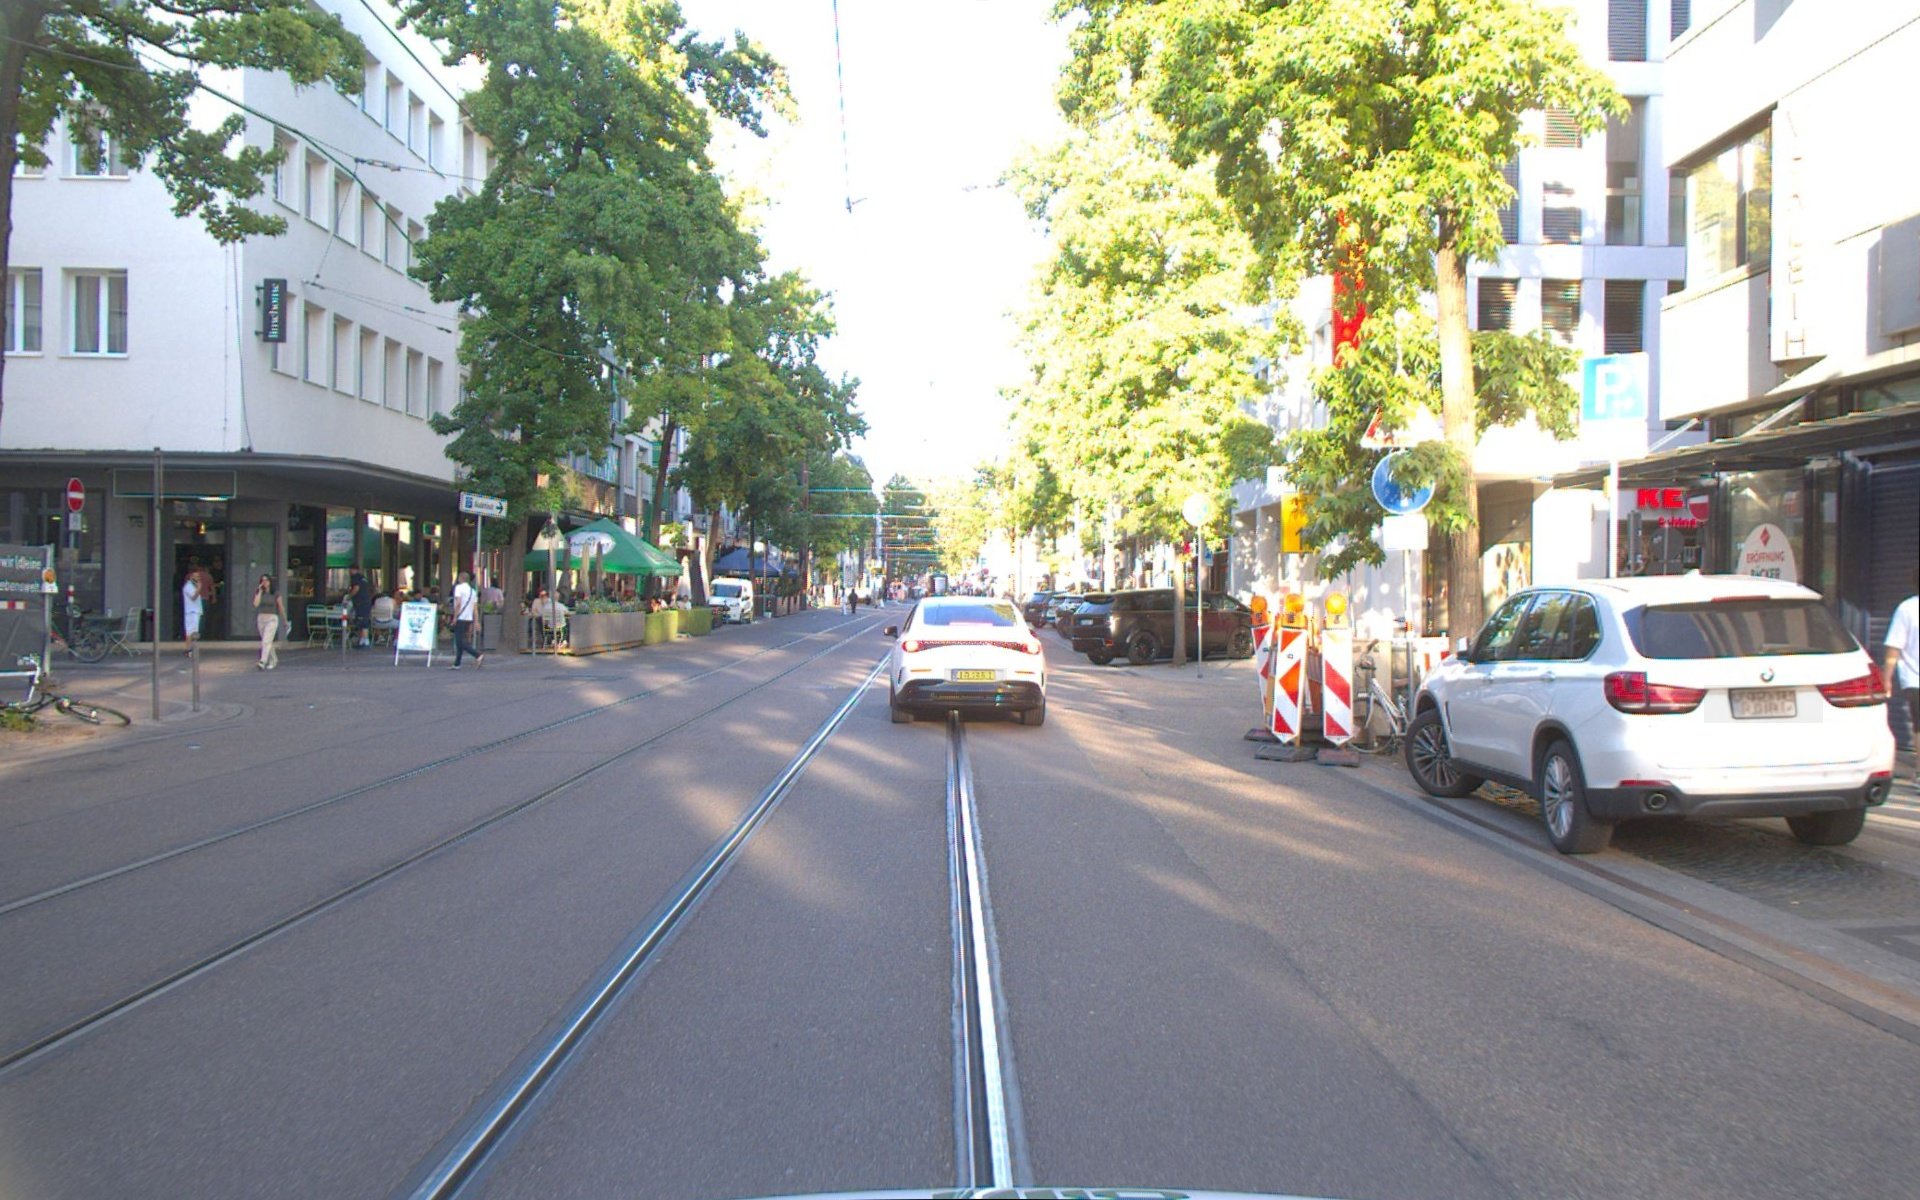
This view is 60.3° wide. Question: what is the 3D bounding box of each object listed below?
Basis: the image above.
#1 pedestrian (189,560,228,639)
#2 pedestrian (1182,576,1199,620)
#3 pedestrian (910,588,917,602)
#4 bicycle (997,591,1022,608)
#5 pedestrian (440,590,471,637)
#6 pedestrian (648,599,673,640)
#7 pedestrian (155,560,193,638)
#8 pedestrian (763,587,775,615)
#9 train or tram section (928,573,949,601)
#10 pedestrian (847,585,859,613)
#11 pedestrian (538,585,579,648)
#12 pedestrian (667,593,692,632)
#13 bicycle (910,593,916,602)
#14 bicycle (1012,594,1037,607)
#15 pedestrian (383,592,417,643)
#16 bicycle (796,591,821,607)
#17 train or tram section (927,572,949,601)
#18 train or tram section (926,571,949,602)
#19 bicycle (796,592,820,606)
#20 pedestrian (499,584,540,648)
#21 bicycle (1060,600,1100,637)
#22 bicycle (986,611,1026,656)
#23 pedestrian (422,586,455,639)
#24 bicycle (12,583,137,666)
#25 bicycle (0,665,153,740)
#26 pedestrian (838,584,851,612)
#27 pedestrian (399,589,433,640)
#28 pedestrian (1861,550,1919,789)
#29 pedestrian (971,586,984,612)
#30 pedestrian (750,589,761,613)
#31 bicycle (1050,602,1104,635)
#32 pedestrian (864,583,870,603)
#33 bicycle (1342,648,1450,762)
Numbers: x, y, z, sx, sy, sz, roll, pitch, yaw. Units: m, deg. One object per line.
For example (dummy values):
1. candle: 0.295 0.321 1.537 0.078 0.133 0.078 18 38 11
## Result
1. pedestrian: -15.807 -0.010 34.806 0.396 1.632 0.619 1 0 33
2. pedestrian: 9.379 -0.084 67.230 0.545 1.781 0.525 -2 0 -1
3. pedestrian: -6.080 -0.642 215.803 0.784 1.813 0.848 2 0 -2
4. bicycle: 4.047 -0.062 134.886 1.874 1.303 0.608 -1 0 -12
5. pedestrian: -13.079 0.339 42.905 0.541 1.182 0.687 2 0 0
6. pedestrian: -10.208 0.656 56.345 0.643 1.315 0.798 3 0 -1
7. pedestrian: -16.796 -0.024 35.339 0.396 1.632 0.619 1 0 33
8. pedestrian: -9.653 0.048 83.492 0.538 1.380 0.582 1 0 -1
9. train or tram section: -2.862 -1.747 219.736 2.639 3.578 11.142 0 0 -1
10. pedestrian: -6.243 -0.070 96.493 0.609 1.577 0.852 3 0 0
11. pedestrian: -9.160 0.373 37.726 0.675 1.410 0.807 2 0 0
12. pedestrian: -9.548 0.421 56.366 0.643 1.266 0.872 3 0 -1
13. bicycle: -6.096 -0.317 215.843 0.784 1.162 2.256 2 0 -2
14. bicycle: 5.351 0.020 137.220 2.077 1.115 0.608 0 0 -14
15. pedestrian: -13.490 0.415 39.879 0.541 1.182 0.687 2 0 0
16. bicycle: -10.728 -0.049 117.060 1.754 1.096 0.377 2 0 -5
17. train or tram section: -2.756 -1.669 207.897 2.639 3.578 12.543 0 0 -1
18. train or tram section: -2.651 -1.582 195.346 2.639 3.578 12.543 0 0 -1
19. bicycle: -10.440 -0.066 113.841 1.562 0.946 0.377 2 0 6
20. pedestrian: -10.027 0.360 37.668 0.675 1.410 0.807 2 0 0
21. bicycle: 4.210 0.644 57.810 0.472 1.183 1.687 -3 0 38
22. bicycle: 1.145 0.803 40.476 0.703 1.012 2.060 2 1 8
23. pedestrian: -13.303 0.317 42.201 0.590 1.321 0.687 2 0 0
24. bicycle: -15.805 0.430 29.554 1.835 1.404 0.713 1 3 1
25. bicycle: -9.457 1.026 16.897 1.758 0.619 1.282 2 0 2
26. pedestrian: -6.646 -0.118 95.415 0.609 1.535 0.833 3 0 0
27. pedestrian: -13.124 0.347 39.907 0.541 1.182 0.687 2 0 0
28. pedestrian: 7.722 0.539 13.208 0.691 1.862 0.634 0 0 -1
29. pedestrian: 1.226 -0.072 117.270 0.824 1.832 0.790 2 0 0
30. pedestrian: -10.477 0.051 84.843 0.484 1.249 0.535 1 0 -1
31. bicycle: 4.242 0.665 59.760 1.870 1.139 0.661 -2 0 -30
32. pedestrian: -9.007 -0.654 160.038 0.527 1.962 0.573 0 0 3
33. bicycle: 4.304 1.013 16.435 0.483 0.999 1.929 0 0 -2
